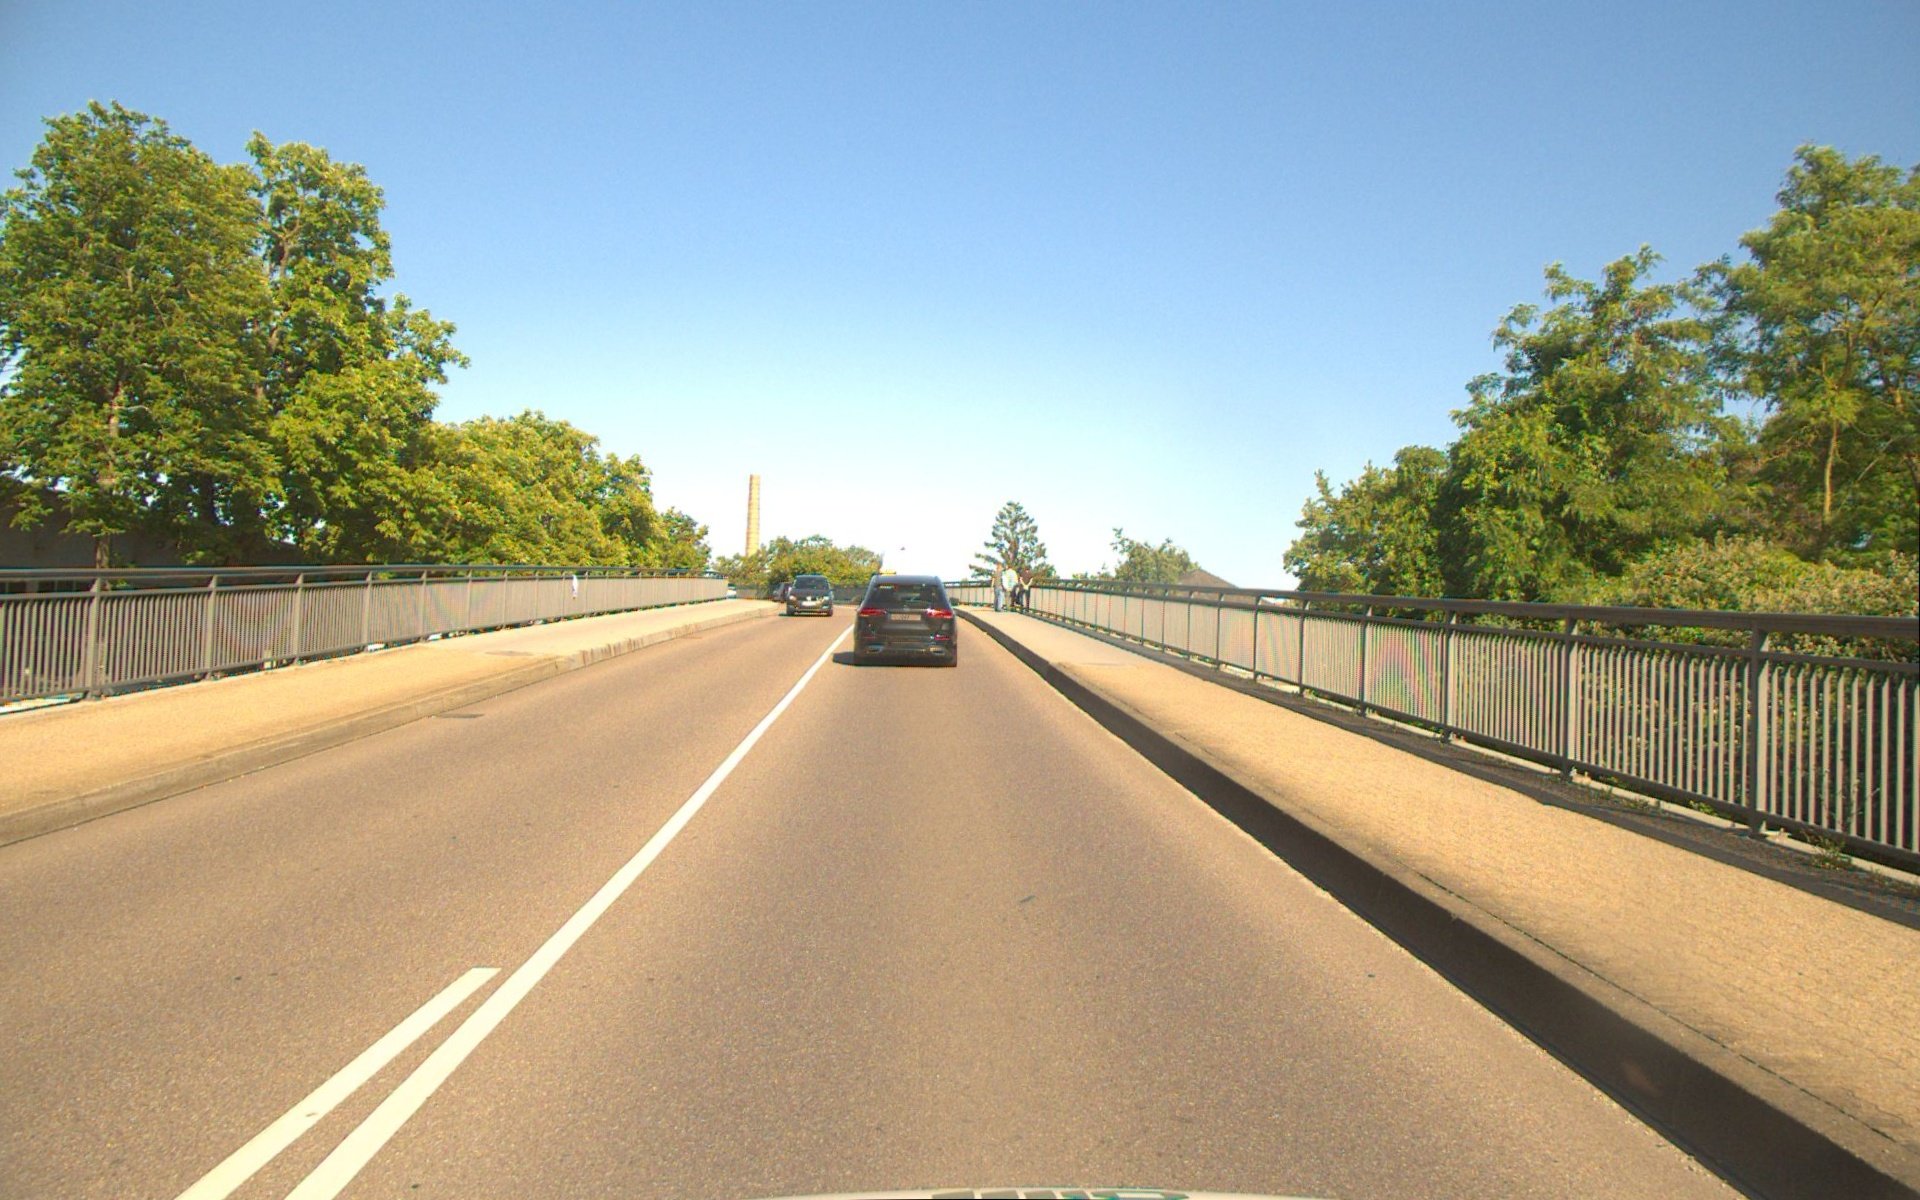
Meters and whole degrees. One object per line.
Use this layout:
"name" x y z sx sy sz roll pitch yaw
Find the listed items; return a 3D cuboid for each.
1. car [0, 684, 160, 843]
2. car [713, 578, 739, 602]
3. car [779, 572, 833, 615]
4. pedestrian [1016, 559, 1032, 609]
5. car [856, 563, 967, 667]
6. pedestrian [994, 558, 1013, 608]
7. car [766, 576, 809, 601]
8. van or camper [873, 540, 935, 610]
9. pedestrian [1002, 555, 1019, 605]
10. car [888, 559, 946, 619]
"car" -13.956 2.336 24.499 1.883 2.026 4.258 2 -1 3
"car" -18.605 -0.773 131.499 1.955 1.710 3.993 1 -3 -7
"car" -5.552 -0.255 60.098 1.734 1.500 3.987 0 1 -2
"pedestrian" 2.331 -0.591 60.337 0.462 1.781 0.653 2 -2 -2
"car" -0.926 0.207 29.205 1.735 1.620 3.986 2 2 -4
"pedestrian" 1.572 -0.601 60.192 0.590 1.781 0.716 2 -2 -2
"car" -12.038 -0.803 115.535 1.877 1.515 4.273 0 -3 10
"van or camper" -2.538 -1.052 73.598 2.183 2.787 7.070 2 -1 -6
"pedestrian" 1.863 -0.731 61.077 0.538 1.781 0.738 2 -2 -2
"car" -1.363 -0.323 54.022 1.768 1.669 3.998 2 -3 -1
